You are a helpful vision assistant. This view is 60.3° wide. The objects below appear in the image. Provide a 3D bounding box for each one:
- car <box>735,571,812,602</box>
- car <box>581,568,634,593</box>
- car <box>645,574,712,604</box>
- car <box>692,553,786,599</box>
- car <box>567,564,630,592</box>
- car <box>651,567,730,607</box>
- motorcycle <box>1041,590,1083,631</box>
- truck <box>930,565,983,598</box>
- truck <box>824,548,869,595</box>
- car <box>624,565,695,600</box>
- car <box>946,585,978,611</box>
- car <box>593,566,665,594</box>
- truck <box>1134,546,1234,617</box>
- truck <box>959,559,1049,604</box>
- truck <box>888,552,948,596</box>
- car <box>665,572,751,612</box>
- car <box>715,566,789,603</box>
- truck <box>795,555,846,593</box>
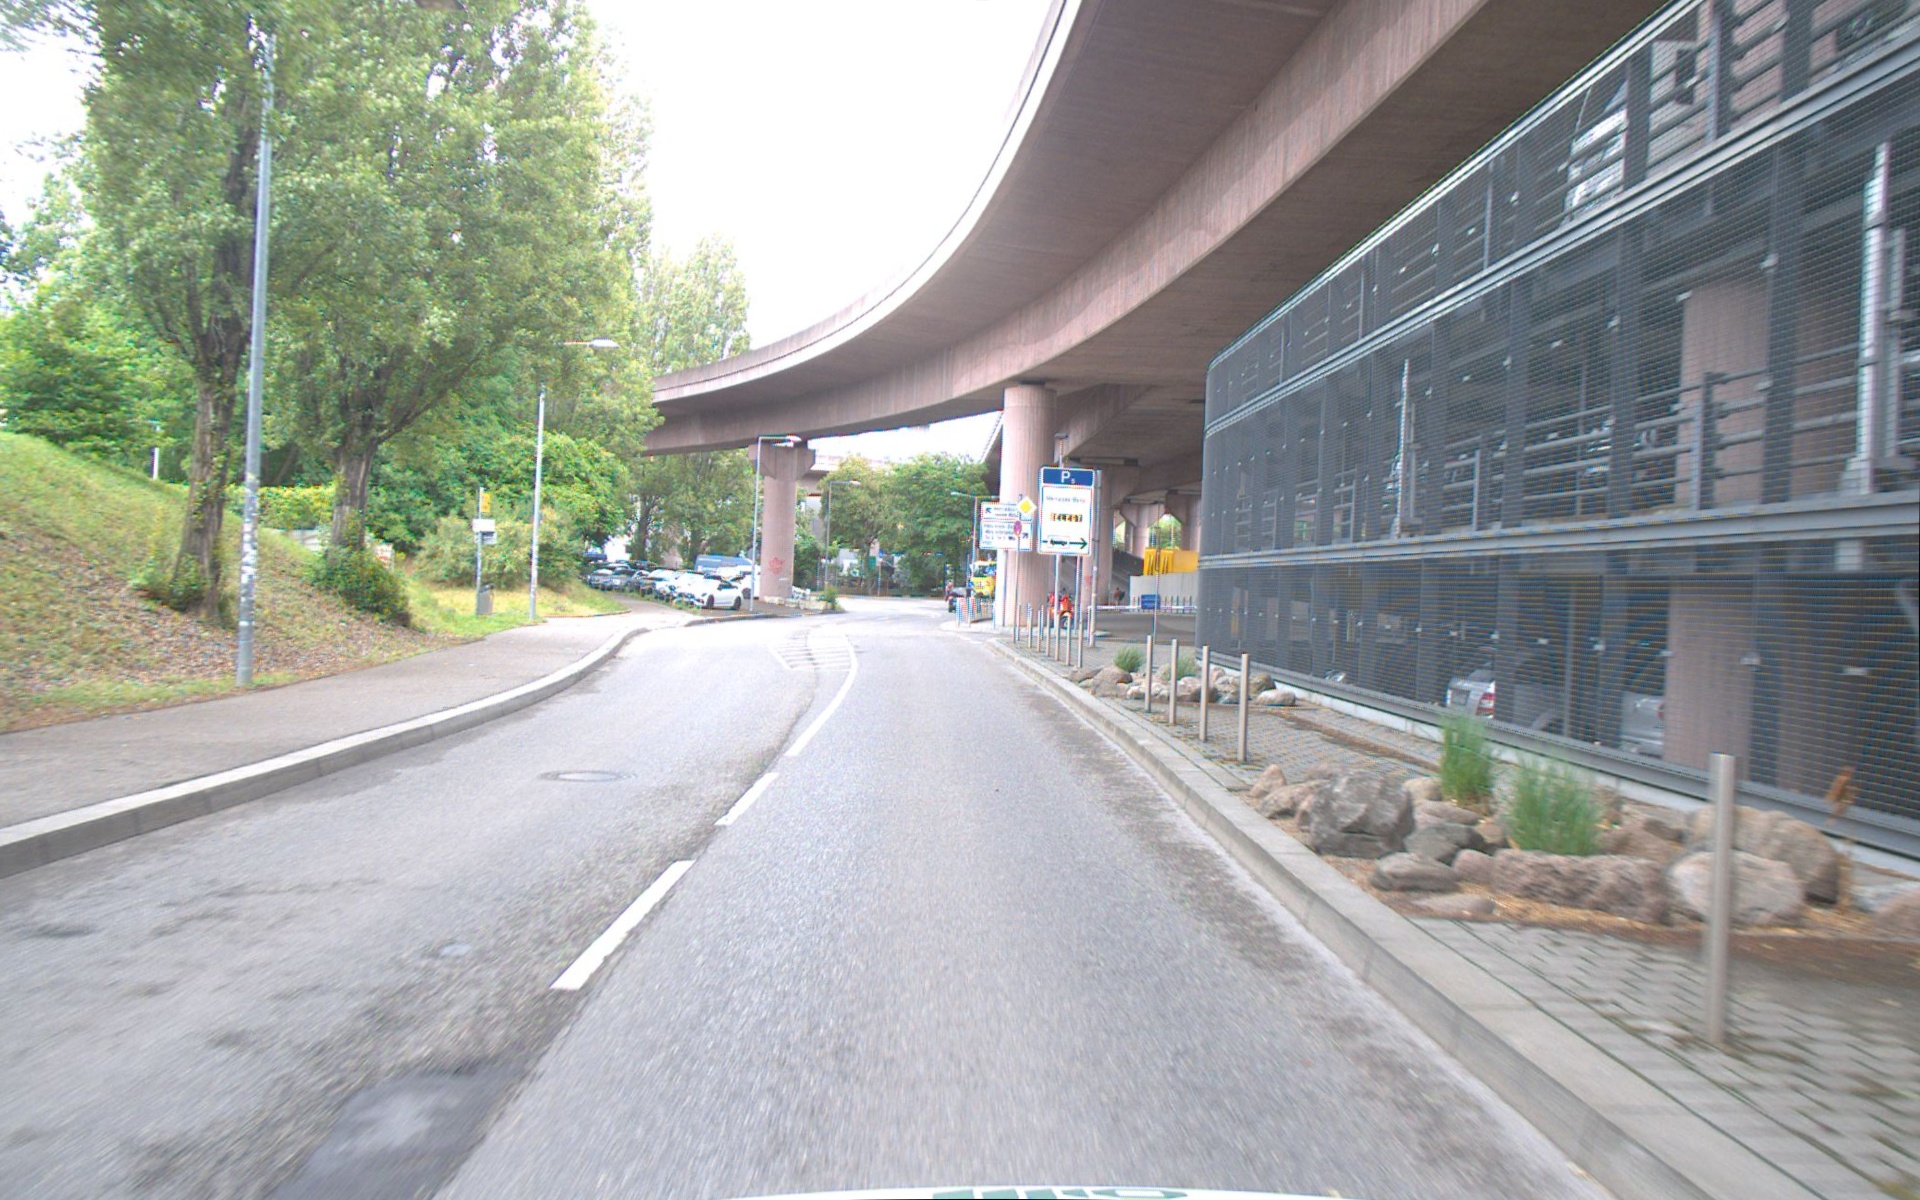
[{"bbox_3d":[-11.748,-0.848,104.195,4.288,1.633,1.956,5,1,11],"label":"car"},{"bbox_3d":[-21.786,-1.181,102.420,1.609,1.466,3.737,1,1,16],"label":"car"},{"bbox_3d":[-14.821,-0.569,87.136,1.750,1.479,3.746,3,0,22],"label":"car"},{"bbox_3d":[-15.038,-1.641,112.998,6.052,2.772,2.367,3,1,-3],"label":"car"},{"bbox_3d":[-23.111,-1.408,105.932,1.857,1.705,4.152,1,1,24],"label":"car"},{"bbox_3d":[-13.574,-0.633,83.544,1.954,1.609,4.401,7,0,19],"label":"car"},{"bbox_3d":[3.641,0.350,59.229,0.783,1.390,2.119,1,1,-18],"label":"motorcycle"},{"bbox_3d":[-0.384,-1.831,160.217,2.875,2.949,6.516,1,2,-22],"label":"truck"},{"bbox_3d":[-12.589,-3.168,183.024,3.152,4.862,8.012,1,2,-17],"label":"truck"},{"bbox_3d":[-16.308,-0.940,89.881,1.819,1.720,4.163,3,0,22],"label":"car"},{"bbox_3d":[0.124,-0.183,115.851,1.953,1.708,4.558,2,0,-2],"label":"car"},{"bbox_3d":[-19.952,-1.217,99.908,1.820,1.513,4.888,5,2,22],"label":"car"},{"bbox_3d":[16.802,-1.337,123.521,3.091,5.003,8.669,2,0,40],"label":"truck"},{"bbox_3d":[3.811,-1.608,142.103,2.887,3.540,8.192,6,5,43],"label":"truck"},{"bbox_3d":[-4.101,-2.532,159.050,3.023,3.934,7.996,1,2,-22],"label":"truck"},{"bbox_3d":[-12.108,-0.344,79.708,1.953,1.505,4.829,6,0,19],"label":"car"},{"bbox_3d":[-13.787,-1.034,109.867,4.460,2.147,1.852,4,1,7],"label":"car"},{"bbox_3d":[-15.187,-2.864,179.242,3.015,3.681,7.859,1,3,-24],"label":"truck"}]
